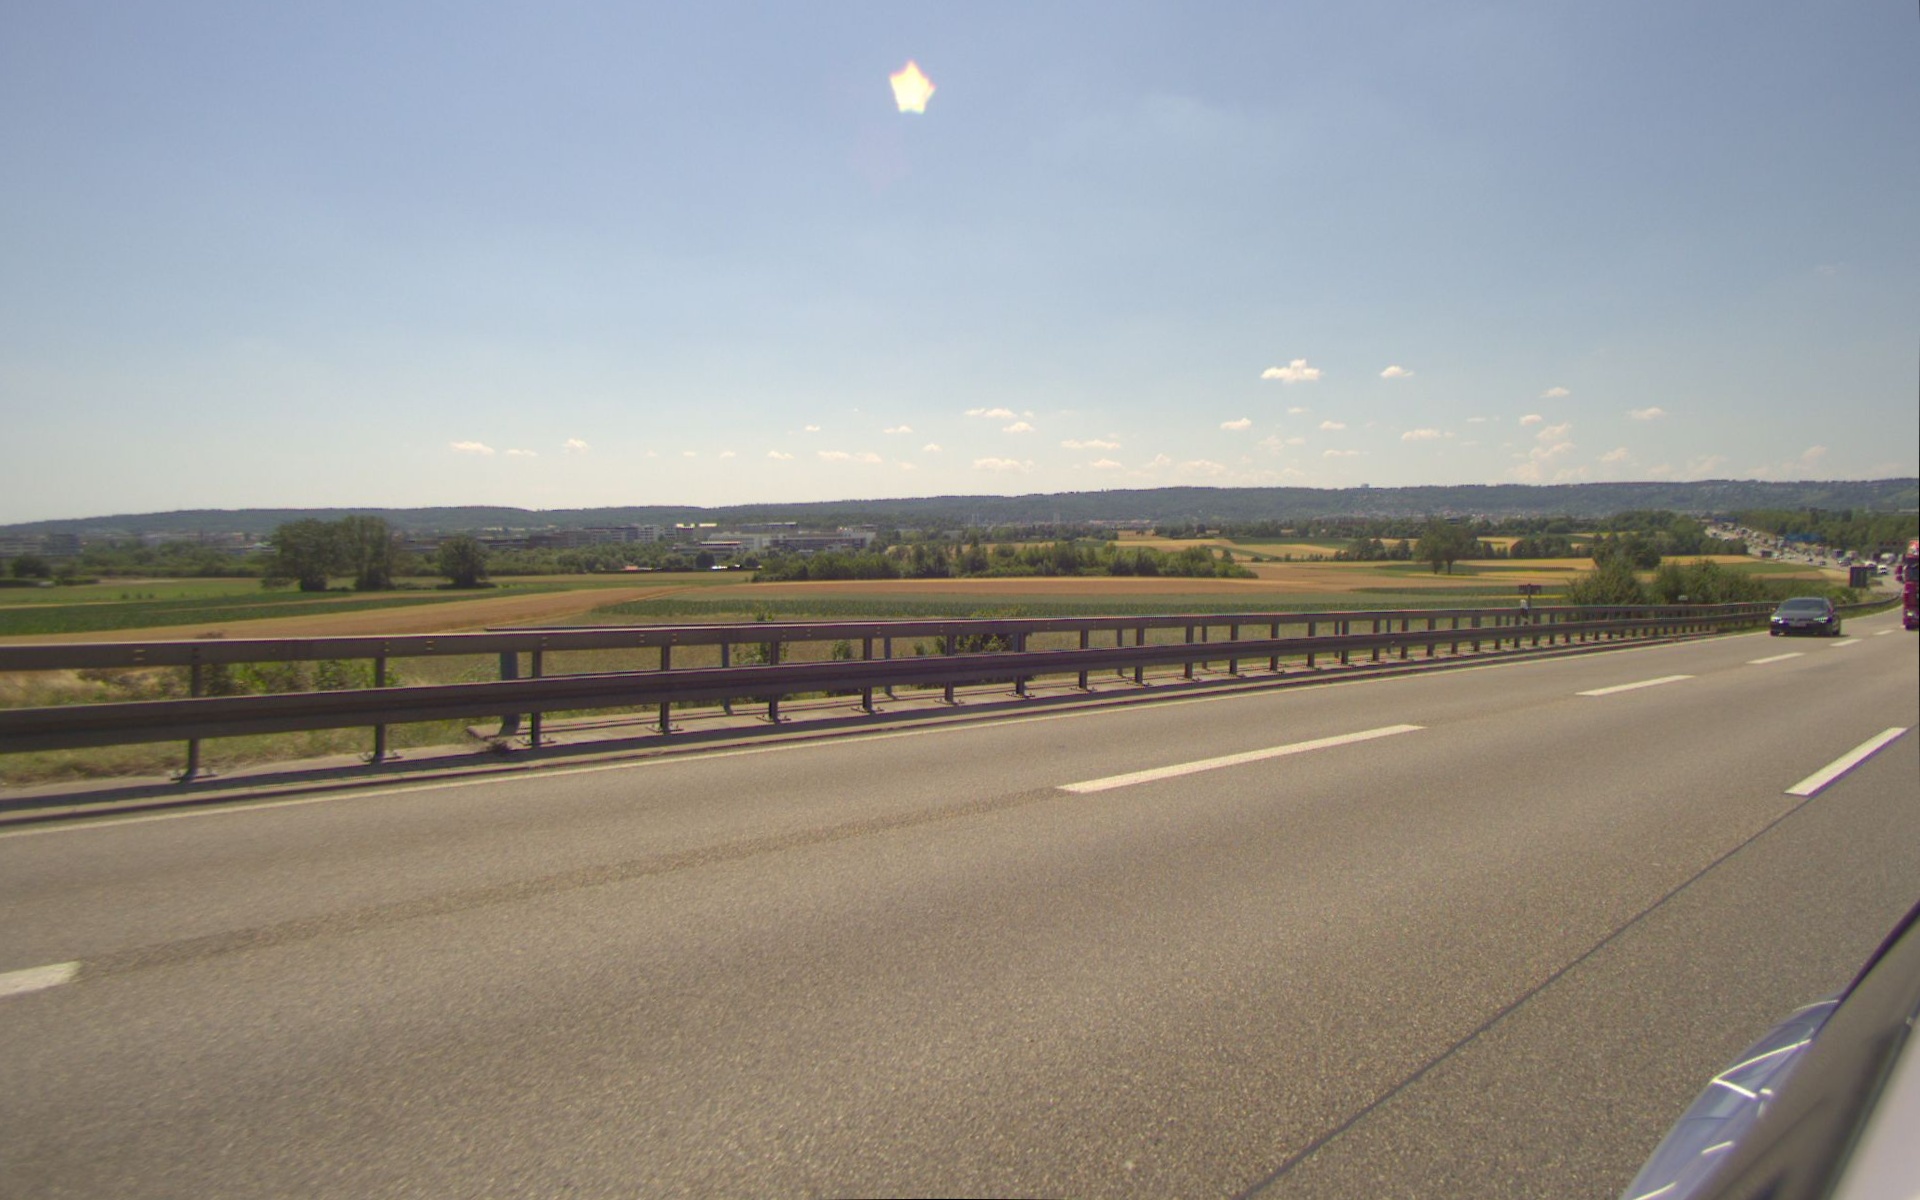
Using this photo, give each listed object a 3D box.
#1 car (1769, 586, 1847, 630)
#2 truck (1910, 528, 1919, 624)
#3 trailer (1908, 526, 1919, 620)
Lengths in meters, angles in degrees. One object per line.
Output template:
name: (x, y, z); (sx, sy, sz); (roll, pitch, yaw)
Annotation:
car: (32.226, 0.266, 38.431); (2.032, 1.571, 3.937); (0, 1, 44)
truck: (43.742, -1.120, 44.366); (2.915, 4.058, 6.412); (-1, 1, 43)
trailer: (48.044, -1.397, 49.060); (2.917, 4.169, 13.645); (-1, 1, 43)
